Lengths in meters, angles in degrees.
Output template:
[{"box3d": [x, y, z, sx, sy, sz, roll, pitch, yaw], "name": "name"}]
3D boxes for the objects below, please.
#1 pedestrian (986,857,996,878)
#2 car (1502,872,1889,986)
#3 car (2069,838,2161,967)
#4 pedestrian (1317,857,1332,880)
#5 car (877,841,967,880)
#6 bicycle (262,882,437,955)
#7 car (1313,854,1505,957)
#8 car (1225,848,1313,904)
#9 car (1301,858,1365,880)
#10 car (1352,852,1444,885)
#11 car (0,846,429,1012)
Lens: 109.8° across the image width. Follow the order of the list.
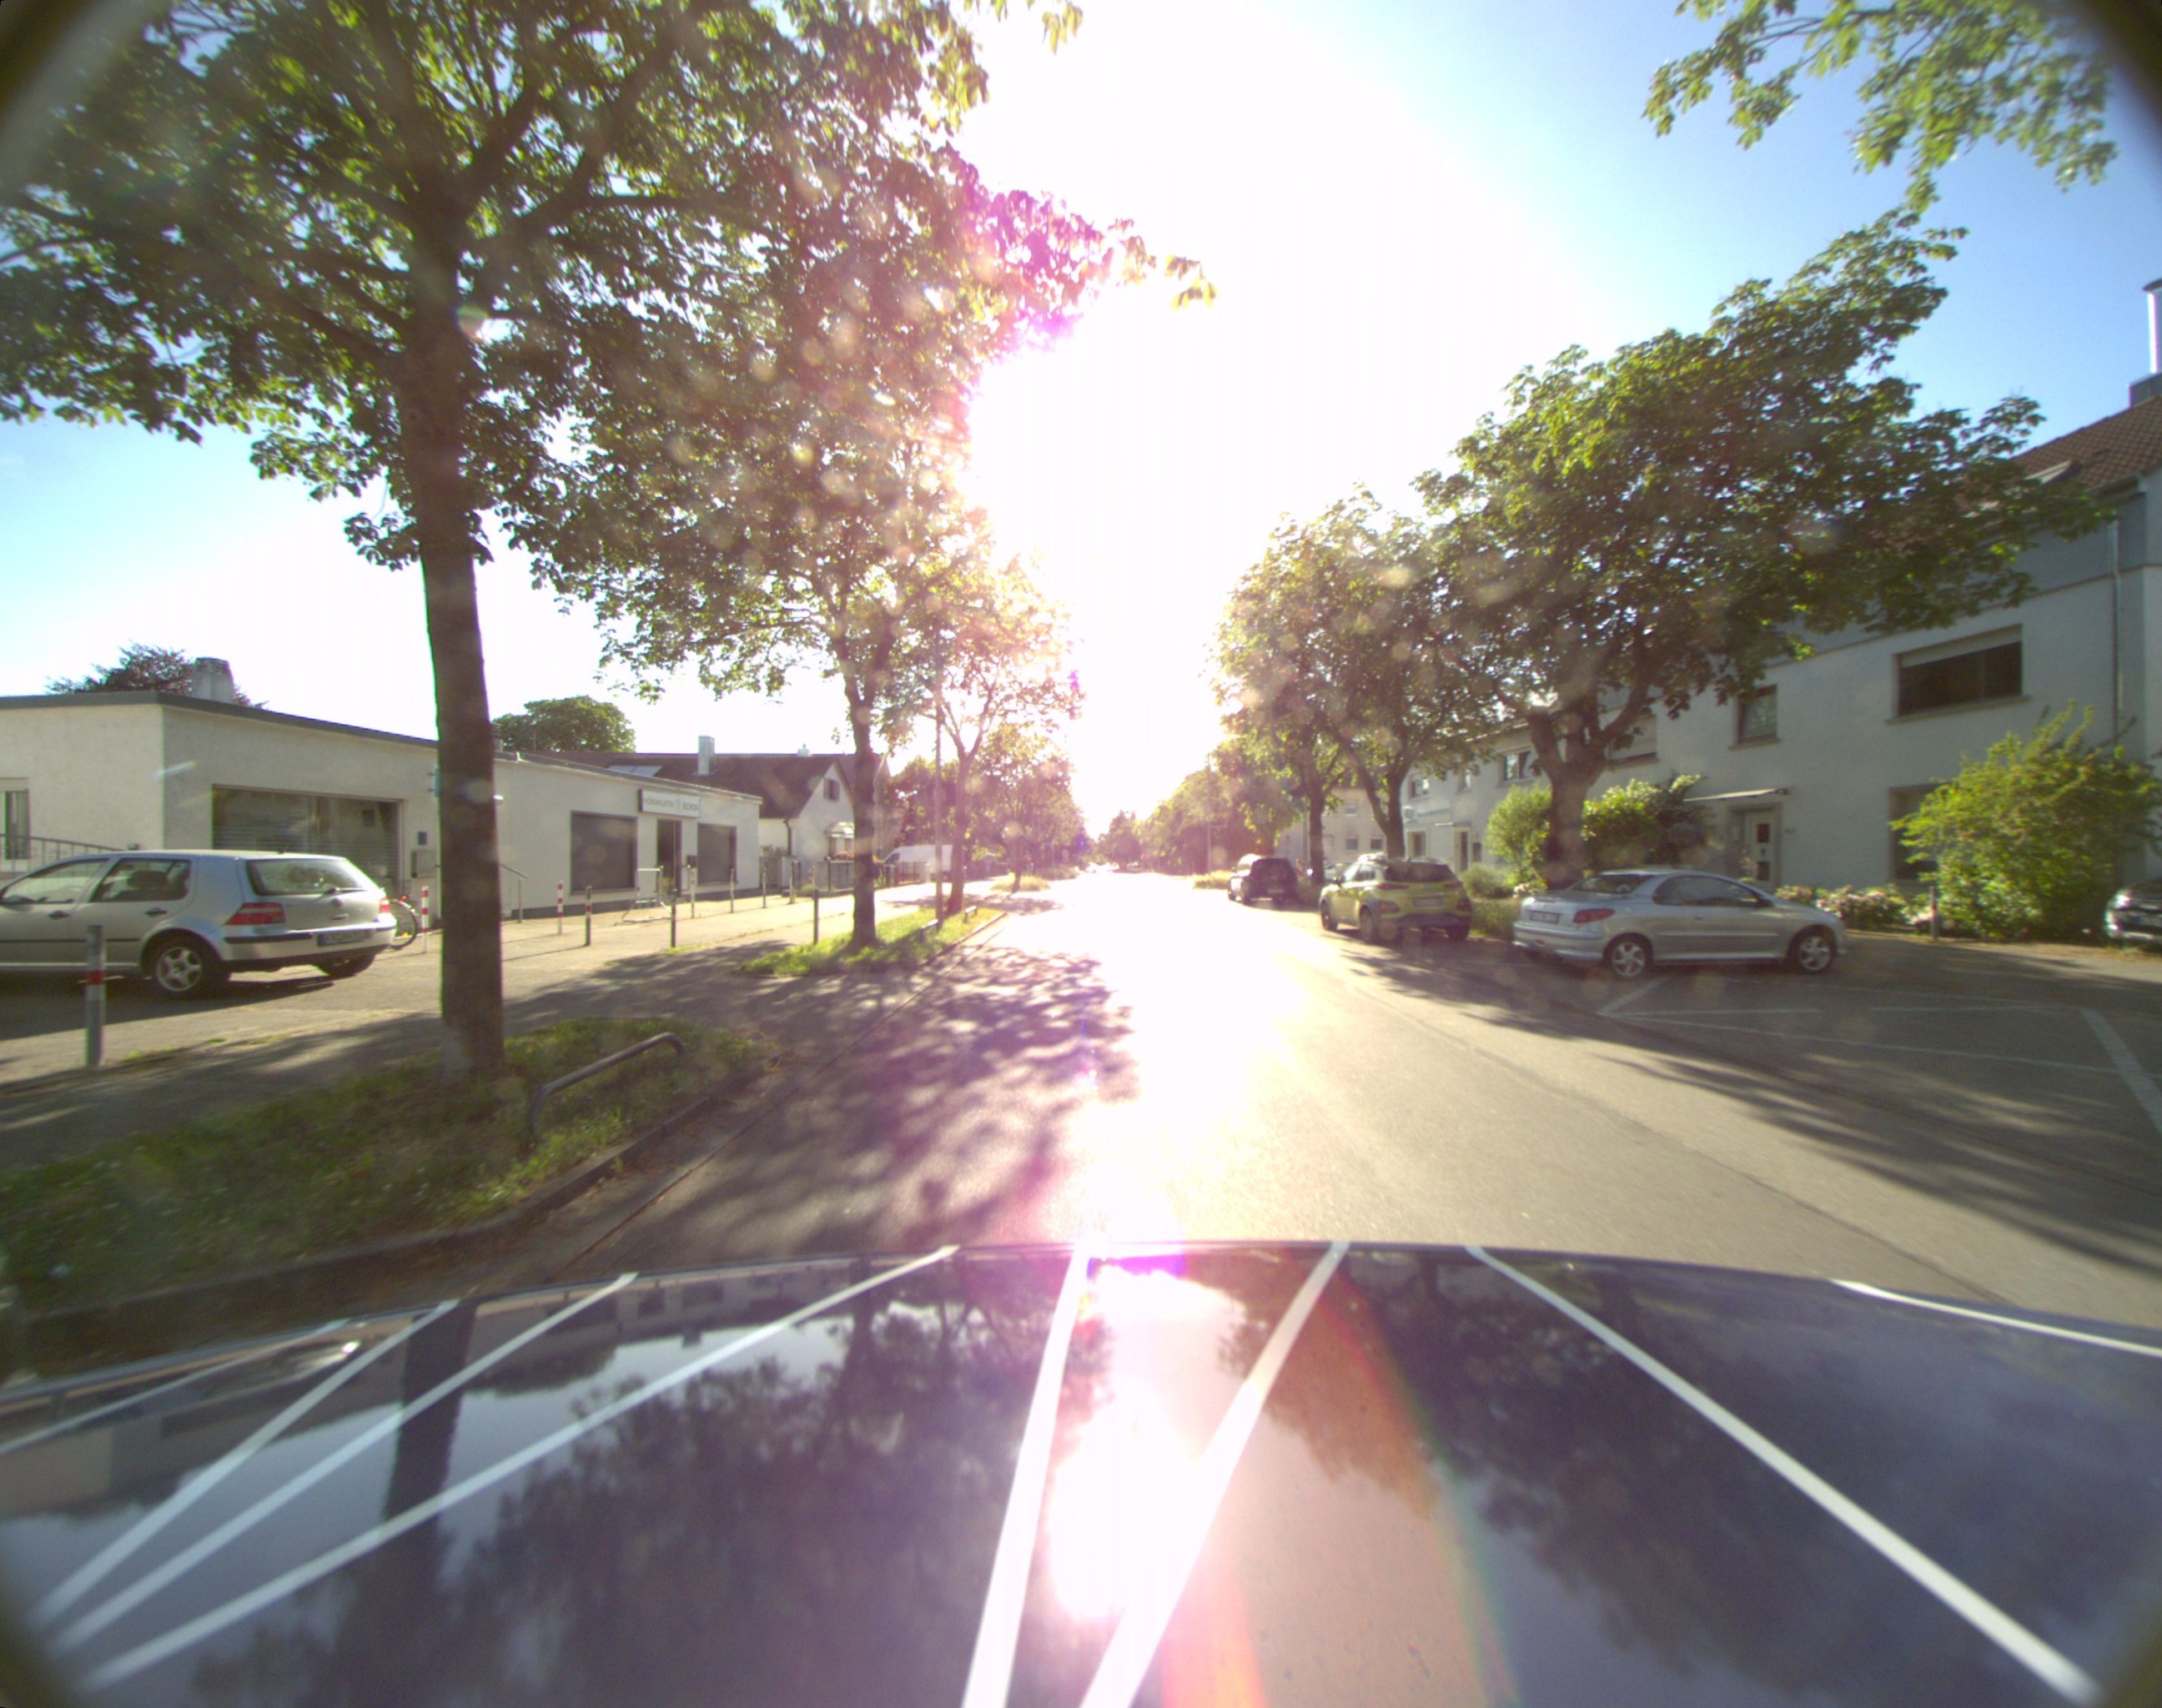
[{"box3d": [-7.238, 1.091, 60.898, 0.638, 1.695, 0.612, 2, -1, 0], "name": "pedestrian"}, {"box3d": [7.911, 0.931, 10.038, 3.774, 1.293, 1.612, -1, -1, 0], "name": "car"}, {"box3d": [16.355, 0.586, 10.022, 4.246, 1.703, 2.000, -1, -1, -4], "name": "car"}, {"box3d": [17.182, 1.030, 53.576, 0.785, 1.544, 0.639, -1, -1, -2], "name": "pedestrian"}, {"box3d": [-10.592, 0.461, 50.907, 5.610, 2.524, 2.265, 0, 0, -2], "name": "car"}, {"box3d": [-10.735, 0.940, 11.185, 1.963, 0.992, 0.576, 1, -1, 0], "name": "bicycle"}, {"box3d": [6.118, 0.856, 14.812, 1.943, 1.599, 4.383, -2, 1, 2], "name": "car"}, {"box3d": [6.378, 0.752, 26.353, 1.958, 1.716, 4.877, -2, -1, 2], "name": "car"}, {"box3d": [17.141, 1.018, 51.762, 3.776, 1.470, 1.871, 0, -2, -1], "name": "car"}, {"box3d": [18.275, 0.872, 43.923, 4.501, 1.826, 2.001, 0, -3, -2], "name": "car"}, {"box3d": [-9.772, 0.701, 8.060, 3.997, 1.480, 1.902, 2, -1, 0], "name": "car"}]
